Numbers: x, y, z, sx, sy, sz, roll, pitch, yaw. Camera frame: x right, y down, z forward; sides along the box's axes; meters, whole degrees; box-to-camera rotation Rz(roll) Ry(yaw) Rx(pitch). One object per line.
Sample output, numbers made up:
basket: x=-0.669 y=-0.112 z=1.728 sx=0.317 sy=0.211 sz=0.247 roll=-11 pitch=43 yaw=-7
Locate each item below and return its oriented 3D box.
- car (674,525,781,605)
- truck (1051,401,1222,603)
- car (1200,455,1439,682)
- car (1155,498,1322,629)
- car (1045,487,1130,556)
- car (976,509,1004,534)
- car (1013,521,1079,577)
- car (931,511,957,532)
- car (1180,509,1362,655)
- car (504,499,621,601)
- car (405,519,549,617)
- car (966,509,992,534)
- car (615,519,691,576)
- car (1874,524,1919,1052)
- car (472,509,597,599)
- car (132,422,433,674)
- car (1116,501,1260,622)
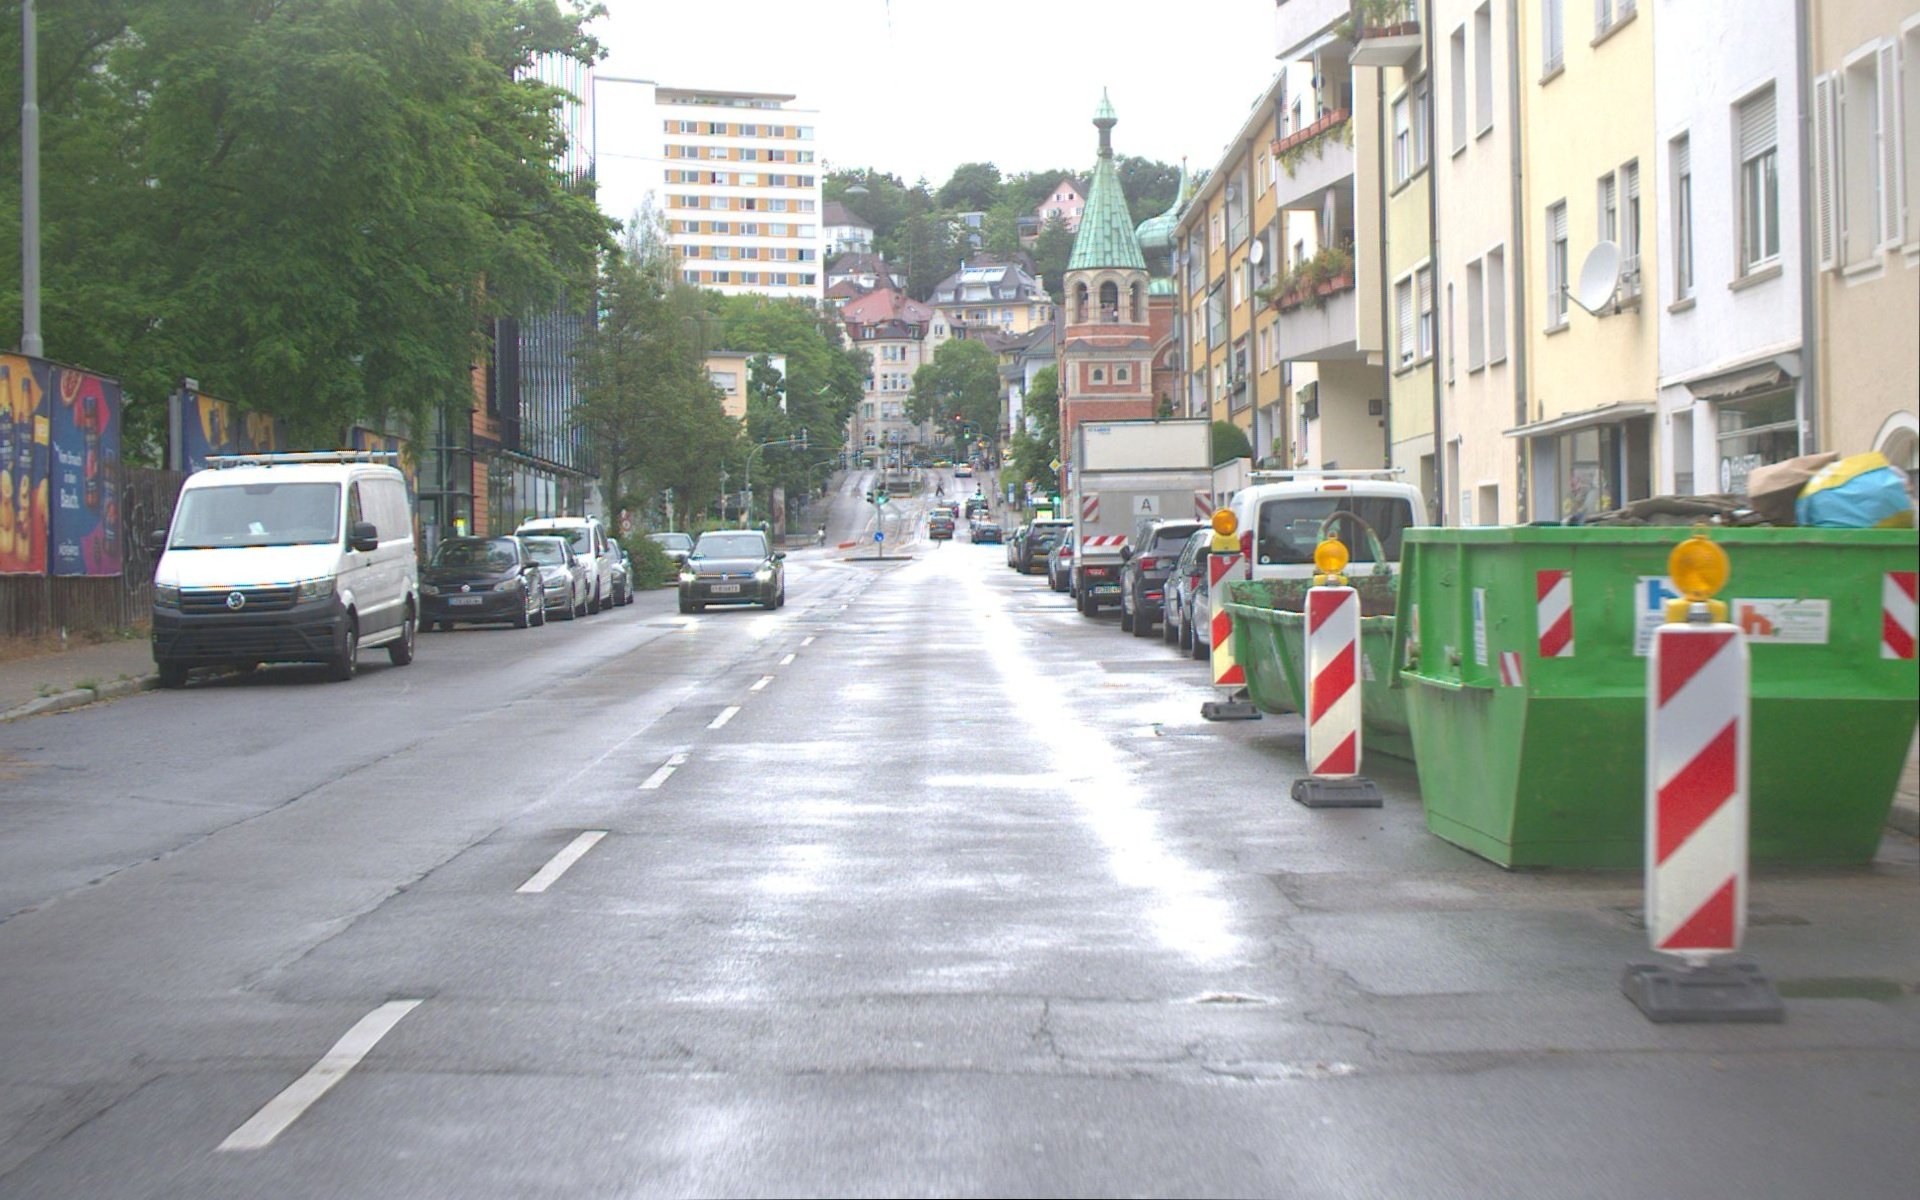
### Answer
car: x=-4.302 y=-0.665 z=64.116 sx=1.805 sy=1.411 sz=4.384 roll=-1 pitch=1 yaw=-2
truck: x=2.882 y=-1.593 z=57.775 sx=2.469 sy=3.161 sz=7.036 roll=-1 pitch=1 yaw=0
car: x=3.213 y=-0.311 z=31.449 sx=1.817 sy=1.917 sz=4.239 roll=-1 pitch=1 yaw=1
car: x=3.356 y=-0.464 z=42.082 sx=1.663 sy=1.494 sz=4.098 roll=-1 pitch=1 yaw=0
car: x=2.863 y=-1.763 z=77.912 sx=1.663 sy=1.497 sz=3.922 roll=-1 pitch=1 yaw=-2
car: x=2.082 y=-5.422 z=238.295 sx=1.732 sy=1.648 sz=4.000 roll=-2 pitch=1 yaw=3
car: x=2.574 y=-1.543 z=103.486 sx=1.817 sy=1.647 sz=4.076 roll=1 pitch=1 yaw=-1
car: x=-1.205 y=-5.922 z=260.194 sx=1.908 sy=1.505 sz=4.000 roll=-1 pitch=1 yaw=-1
car: x=3.289 y=-0.219 z=36.840 sx=1.577 sy=1.465 sz=3.502 roll=-1 pitch=1 yaw=-1
car: x=-7.459 y=-0.930 z=64.796 sx=1.723 sy=1.794 sz=4.344 roll=-2 pitch=0 yaw=-1
car: x=-7.350 y=-0.491 z=52.613 sx=1.682 sy=1.394 sz=3.911 roll=-2 pitch=0 yaw=-1
car: x=1.378 y=-5.705 z=250.017 sx=1.851 sy=1.760 sz=4.000 roll=0 pitch=1 yaw=1
car: x=-8.312 y=-1.401 z=93.440 sx=1.803 sy=1.445 sz=4.658 roll=-2 pitch=0 yaw=-2
car: x=3.379 y=0.546 z=7.688 sx=1.626 sy=1.406 sz=3.842 roll=0 pitch=1 yaw=0
car: x=-7.346 y=-0.784 z=59.685 sx=1.682 sy=1.457 sz=4.277 roll=-2 pitch=0 yaw=-1
car: x=-7.310 y=-0.594 z=37.756 sx=2.012 sy=2.478 sz=5.983 roll=-2 pitch=1 yaw=0
car: x=3.112 y=-0.552 z=47.576 sx=1.663 sy=1.568 sz=4.098 roll=-1 pitch=1 yaw=0
